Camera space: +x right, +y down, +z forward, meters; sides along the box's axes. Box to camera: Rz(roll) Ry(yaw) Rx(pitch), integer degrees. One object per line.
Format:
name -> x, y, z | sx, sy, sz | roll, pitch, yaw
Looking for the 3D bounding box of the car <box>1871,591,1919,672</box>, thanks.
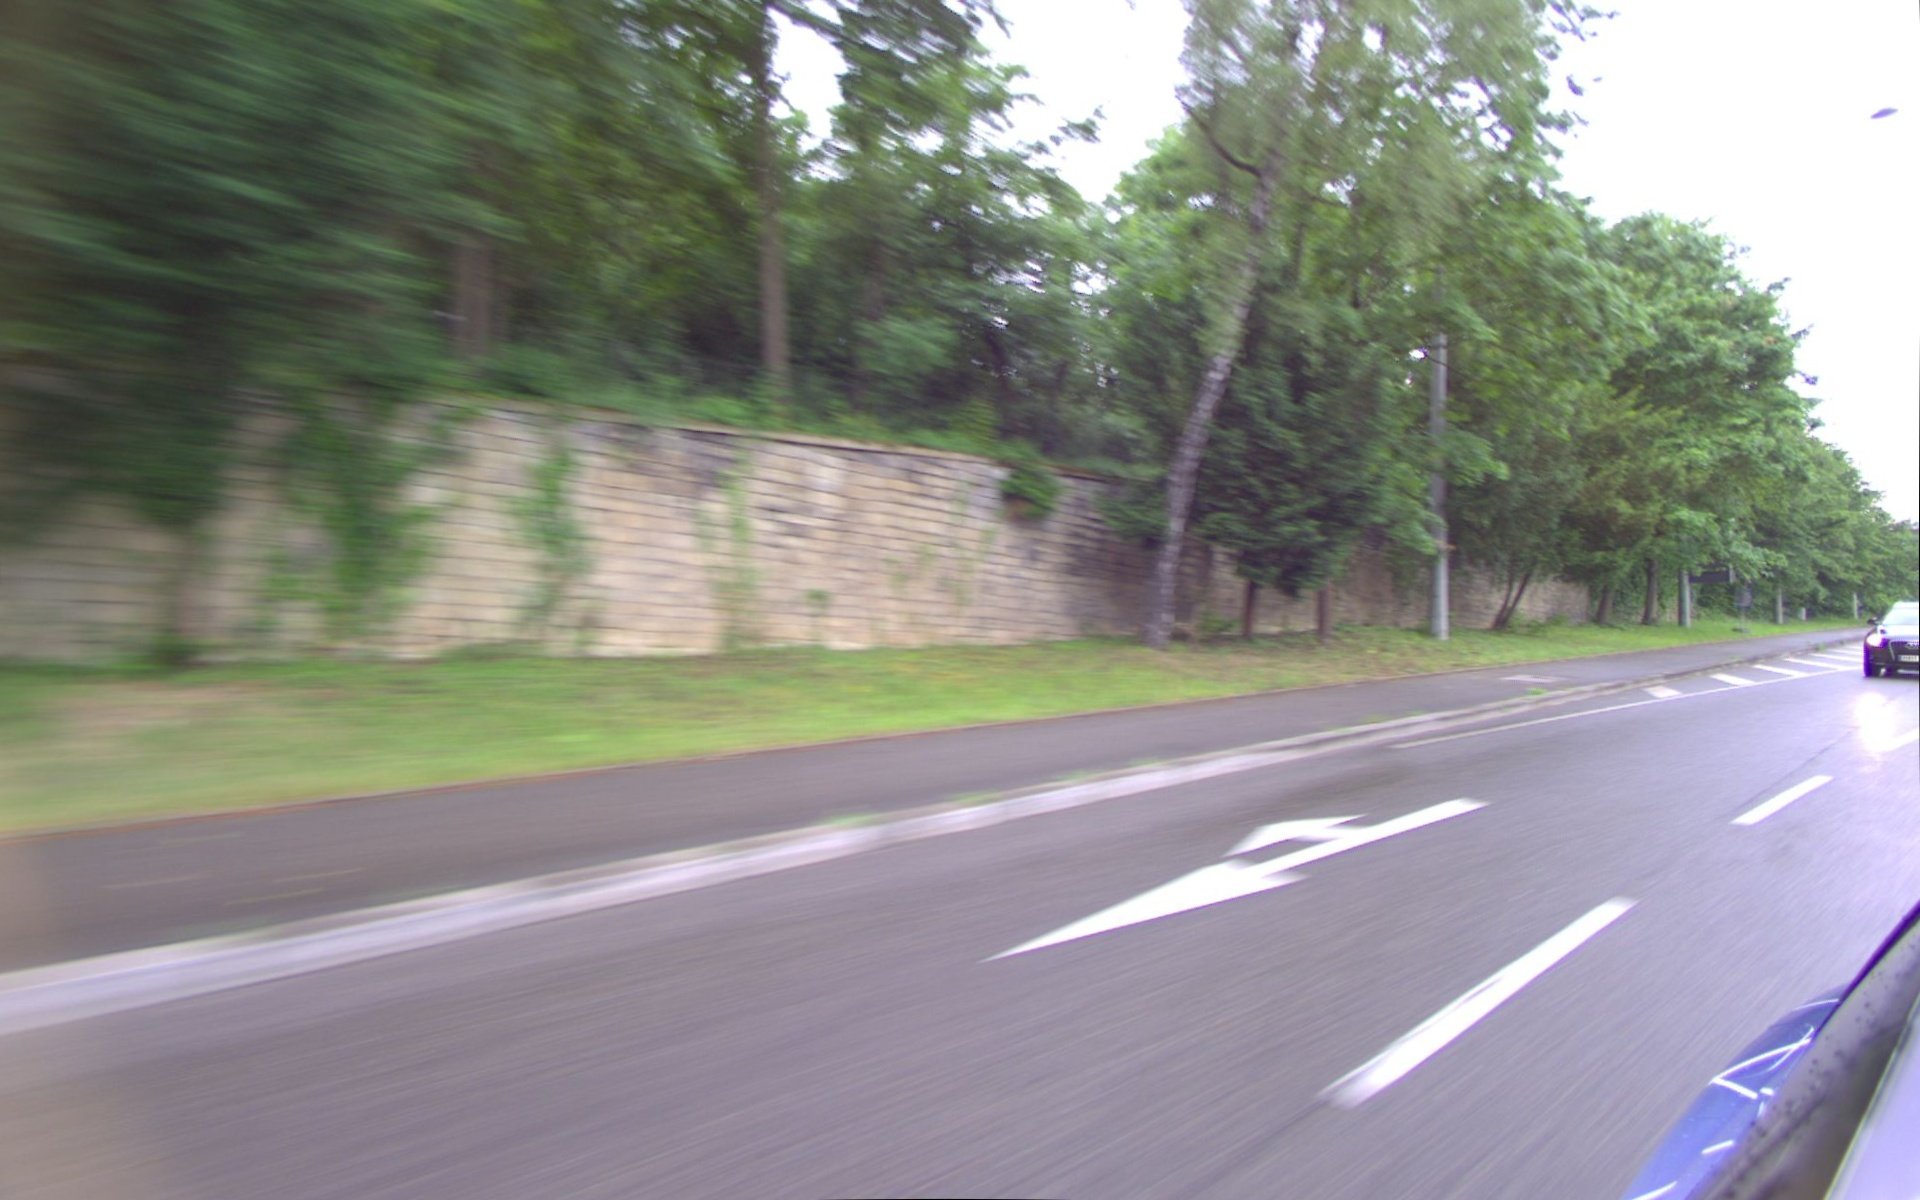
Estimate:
car -> 21.288, 0.632, 21.836 | 4.205, 1.621, 1.926 | -1, 1, -41
